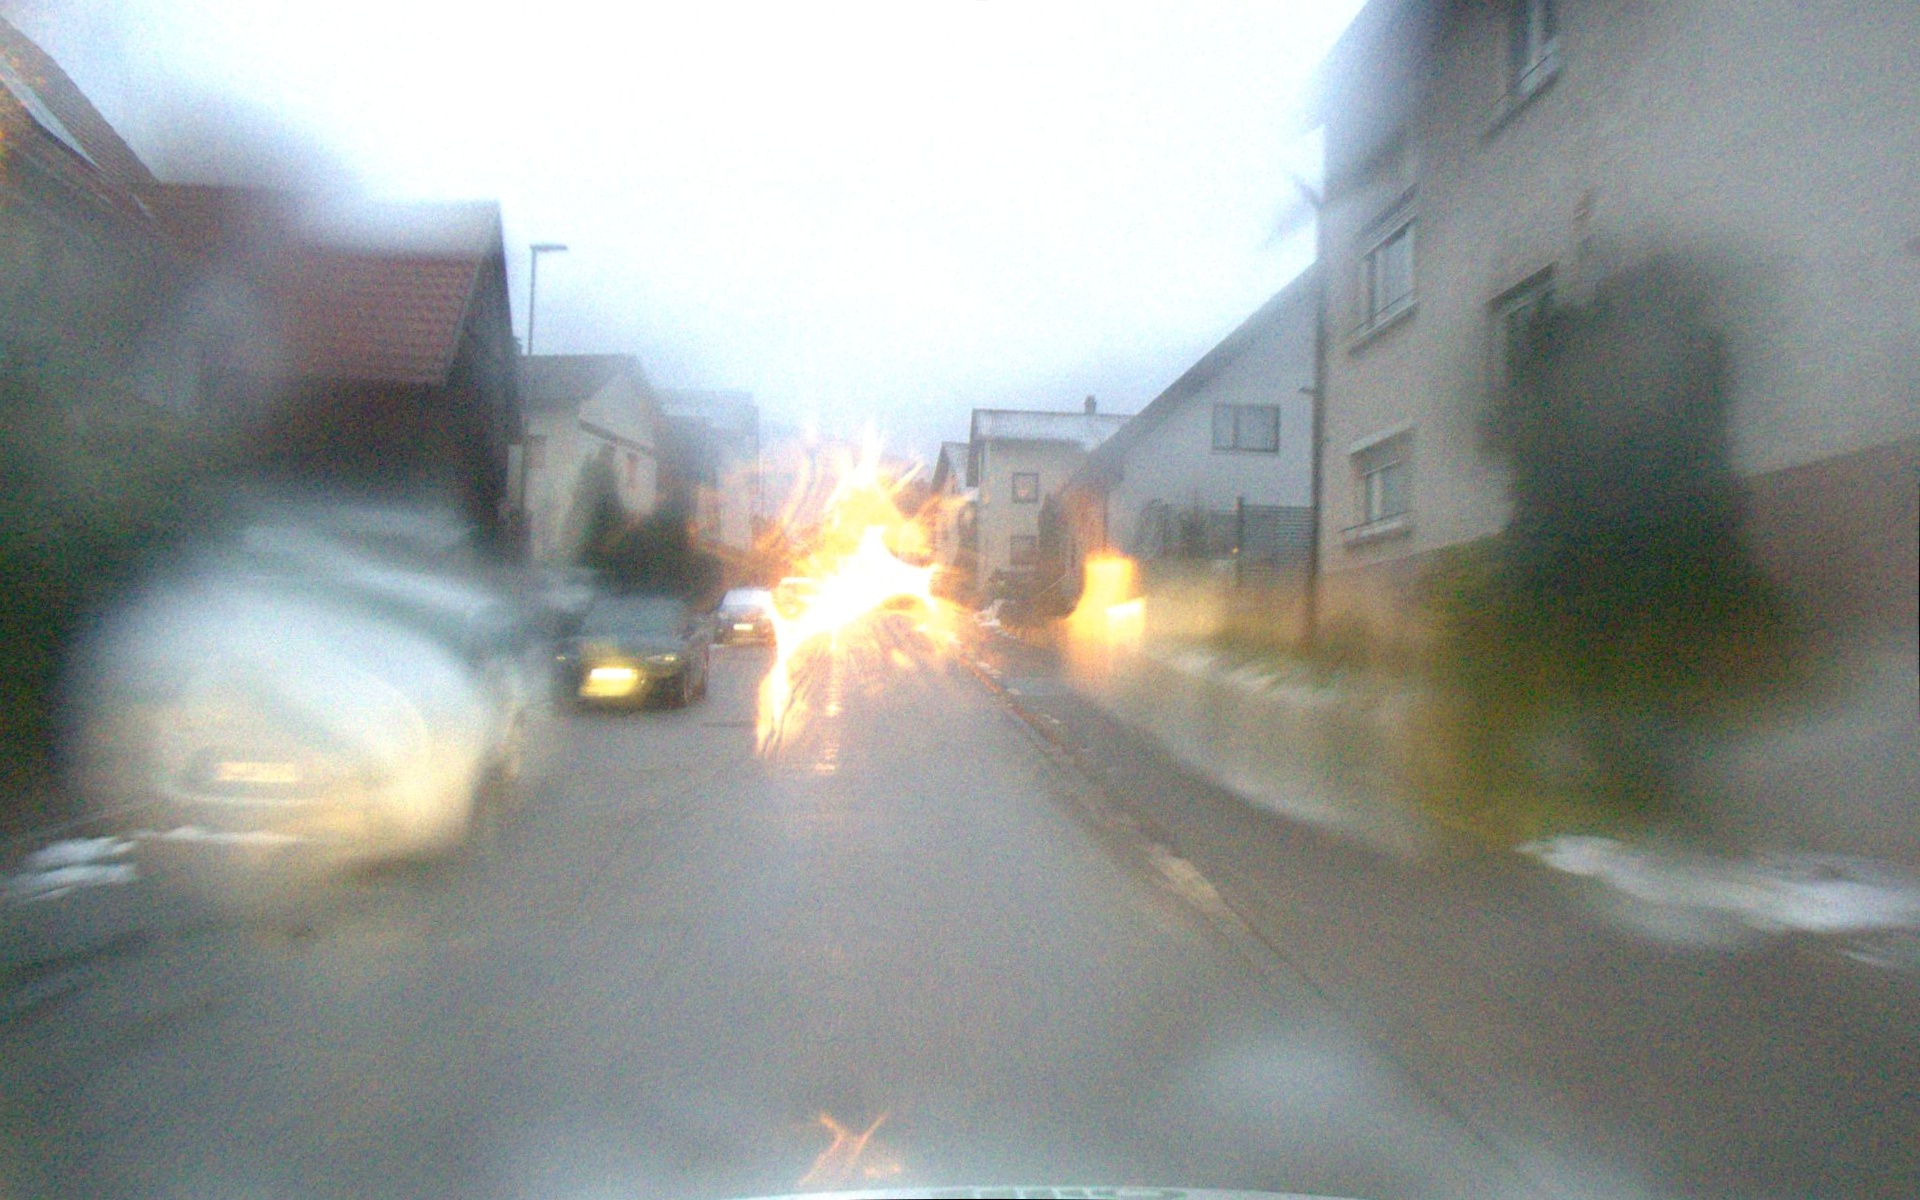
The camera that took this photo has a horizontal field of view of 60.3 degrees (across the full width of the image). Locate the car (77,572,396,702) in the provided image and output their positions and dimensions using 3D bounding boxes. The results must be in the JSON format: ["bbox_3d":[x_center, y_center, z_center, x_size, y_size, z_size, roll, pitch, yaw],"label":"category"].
[{"bbox_3d":[-9.547,0.481,22.019,3.392,1.555,1.774,2,-1,1],"label":"car"}]

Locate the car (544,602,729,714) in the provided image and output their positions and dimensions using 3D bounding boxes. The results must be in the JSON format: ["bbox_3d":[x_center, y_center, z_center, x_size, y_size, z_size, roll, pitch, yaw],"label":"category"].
[{"bbox_3d":[-4.475,0.778,23.599,1.840,1.419,5.072,0,-1,-3],"label":"car"}]

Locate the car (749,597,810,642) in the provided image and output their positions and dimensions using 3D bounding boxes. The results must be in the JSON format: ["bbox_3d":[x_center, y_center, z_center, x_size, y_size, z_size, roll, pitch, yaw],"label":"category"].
[{"bbox_3d":[-6.352,0.670,58.621,1.758,1.530,4.308,0,0,-1],"label":"car"}]

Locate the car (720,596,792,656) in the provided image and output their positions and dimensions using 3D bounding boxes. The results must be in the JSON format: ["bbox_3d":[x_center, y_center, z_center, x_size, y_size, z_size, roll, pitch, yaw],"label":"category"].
[{"bbox_3d":[-5.675,0.730,46.383,1.650,1.612,4.173,0,-1,-3],"label":"car"}]

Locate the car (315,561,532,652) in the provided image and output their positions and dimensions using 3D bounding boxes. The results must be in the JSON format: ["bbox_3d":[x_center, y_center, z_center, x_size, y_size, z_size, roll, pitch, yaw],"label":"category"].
[{"bbox_3d":[-11.420,0.145,35.382,3.905,1.777,2.000,2,-1,1],"label":"car"}]

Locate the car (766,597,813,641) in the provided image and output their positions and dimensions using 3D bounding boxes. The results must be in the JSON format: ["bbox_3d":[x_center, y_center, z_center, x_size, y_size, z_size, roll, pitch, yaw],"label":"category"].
[{"bbox_3d":[-7.390,0.814,72.160,1.789,1.867,4.342,0,0,-3],"label":"car"}]

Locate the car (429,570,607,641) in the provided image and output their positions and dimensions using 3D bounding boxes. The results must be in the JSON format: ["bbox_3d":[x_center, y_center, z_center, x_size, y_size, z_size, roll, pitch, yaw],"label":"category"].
[{"bbox_3d":[-11.109,0.142,41.771,3.905,1.646,1.889,2,-1,1],"label":"car"}]

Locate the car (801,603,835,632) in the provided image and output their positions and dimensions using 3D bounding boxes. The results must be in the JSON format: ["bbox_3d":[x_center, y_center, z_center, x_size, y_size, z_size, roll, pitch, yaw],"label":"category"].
[{"bbox_3d":[-8.927,1.090,104.205,1.954,1.679,3.997,2,-2,-3],"label":"car"}]

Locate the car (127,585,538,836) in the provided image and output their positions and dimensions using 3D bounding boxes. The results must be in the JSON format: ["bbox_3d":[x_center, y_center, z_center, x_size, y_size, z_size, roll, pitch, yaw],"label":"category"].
[{"bbox_3d":[-4.133,0.674,11.510,1.586,1.464,3.654,0,-1,-3],"label":"car"}]
